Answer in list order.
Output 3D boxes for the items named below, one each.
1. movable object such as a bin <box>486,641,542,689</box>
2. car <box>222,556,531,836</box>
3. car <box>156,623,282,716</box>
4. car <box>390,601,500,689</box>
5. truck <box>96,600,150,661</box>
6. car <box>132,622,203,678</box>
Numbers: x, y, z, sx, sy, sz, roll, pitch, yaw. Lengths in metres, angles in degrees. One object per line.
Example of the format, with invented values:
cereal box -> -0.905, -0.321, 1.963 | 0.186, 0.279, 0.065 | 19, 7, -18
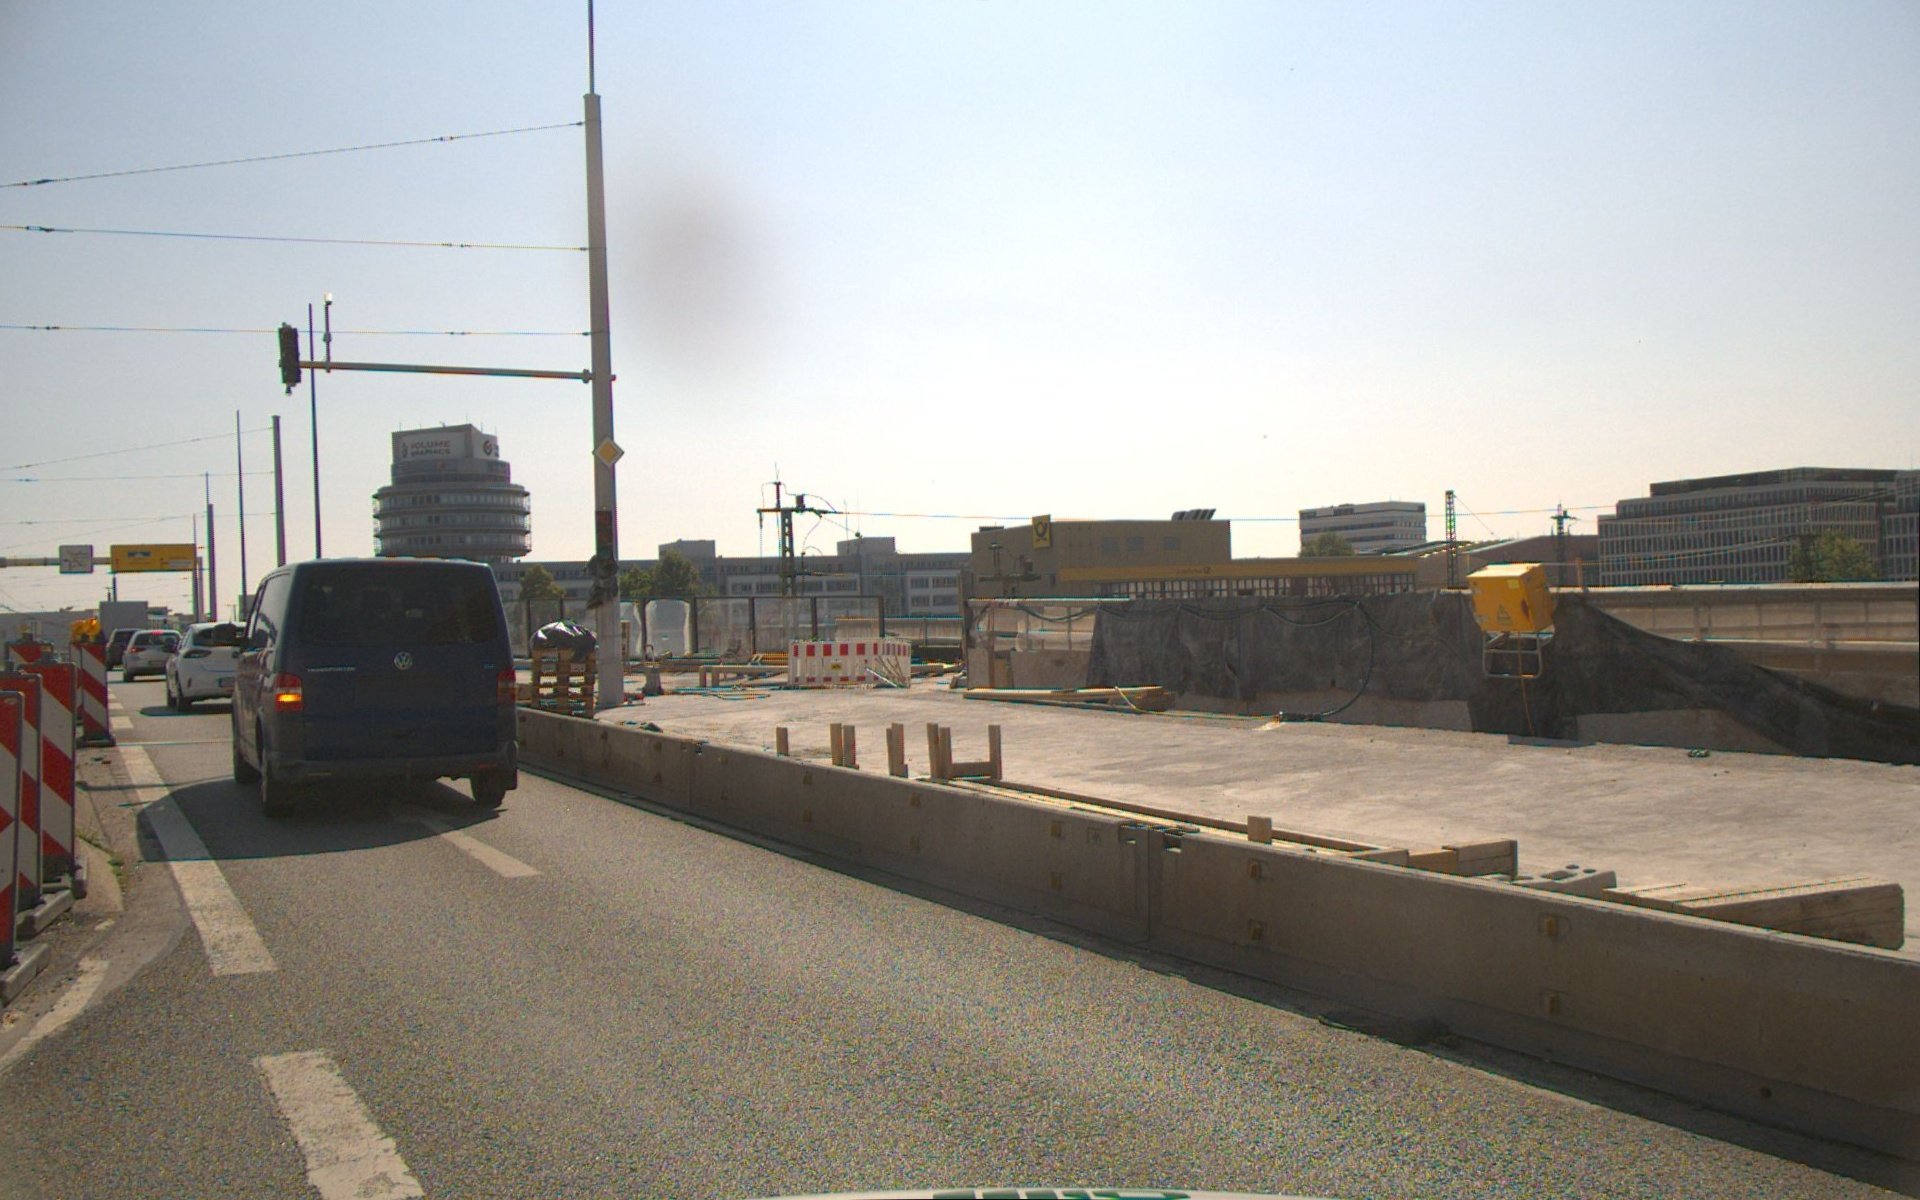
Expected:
movable object such as a bin -> -10.464, 1.524, 38.789 | 0.919, 1.093, 0.892 | -2, -1, 18
car -> -5.023, 0.694, 13.885 | 1.796, 1.939, 4.016 | -2, 0, -29
car -> -12.752, 1.144, 28.371 | 1.699, 1.429, 3.379 | -1, 0, -29
car -> -13.113, 1.144, 41.925 | 1.857, 2.069, 4.847 | -1, -1, -27
truck -> -48.085, 1.717, 94.850 | 2.433, 3.189, 11.109 | -2, 0, -28
car -> -23.663, 1.473, 49.341 | 1.699, 1.559, 3.662 | -1, 0, -29
